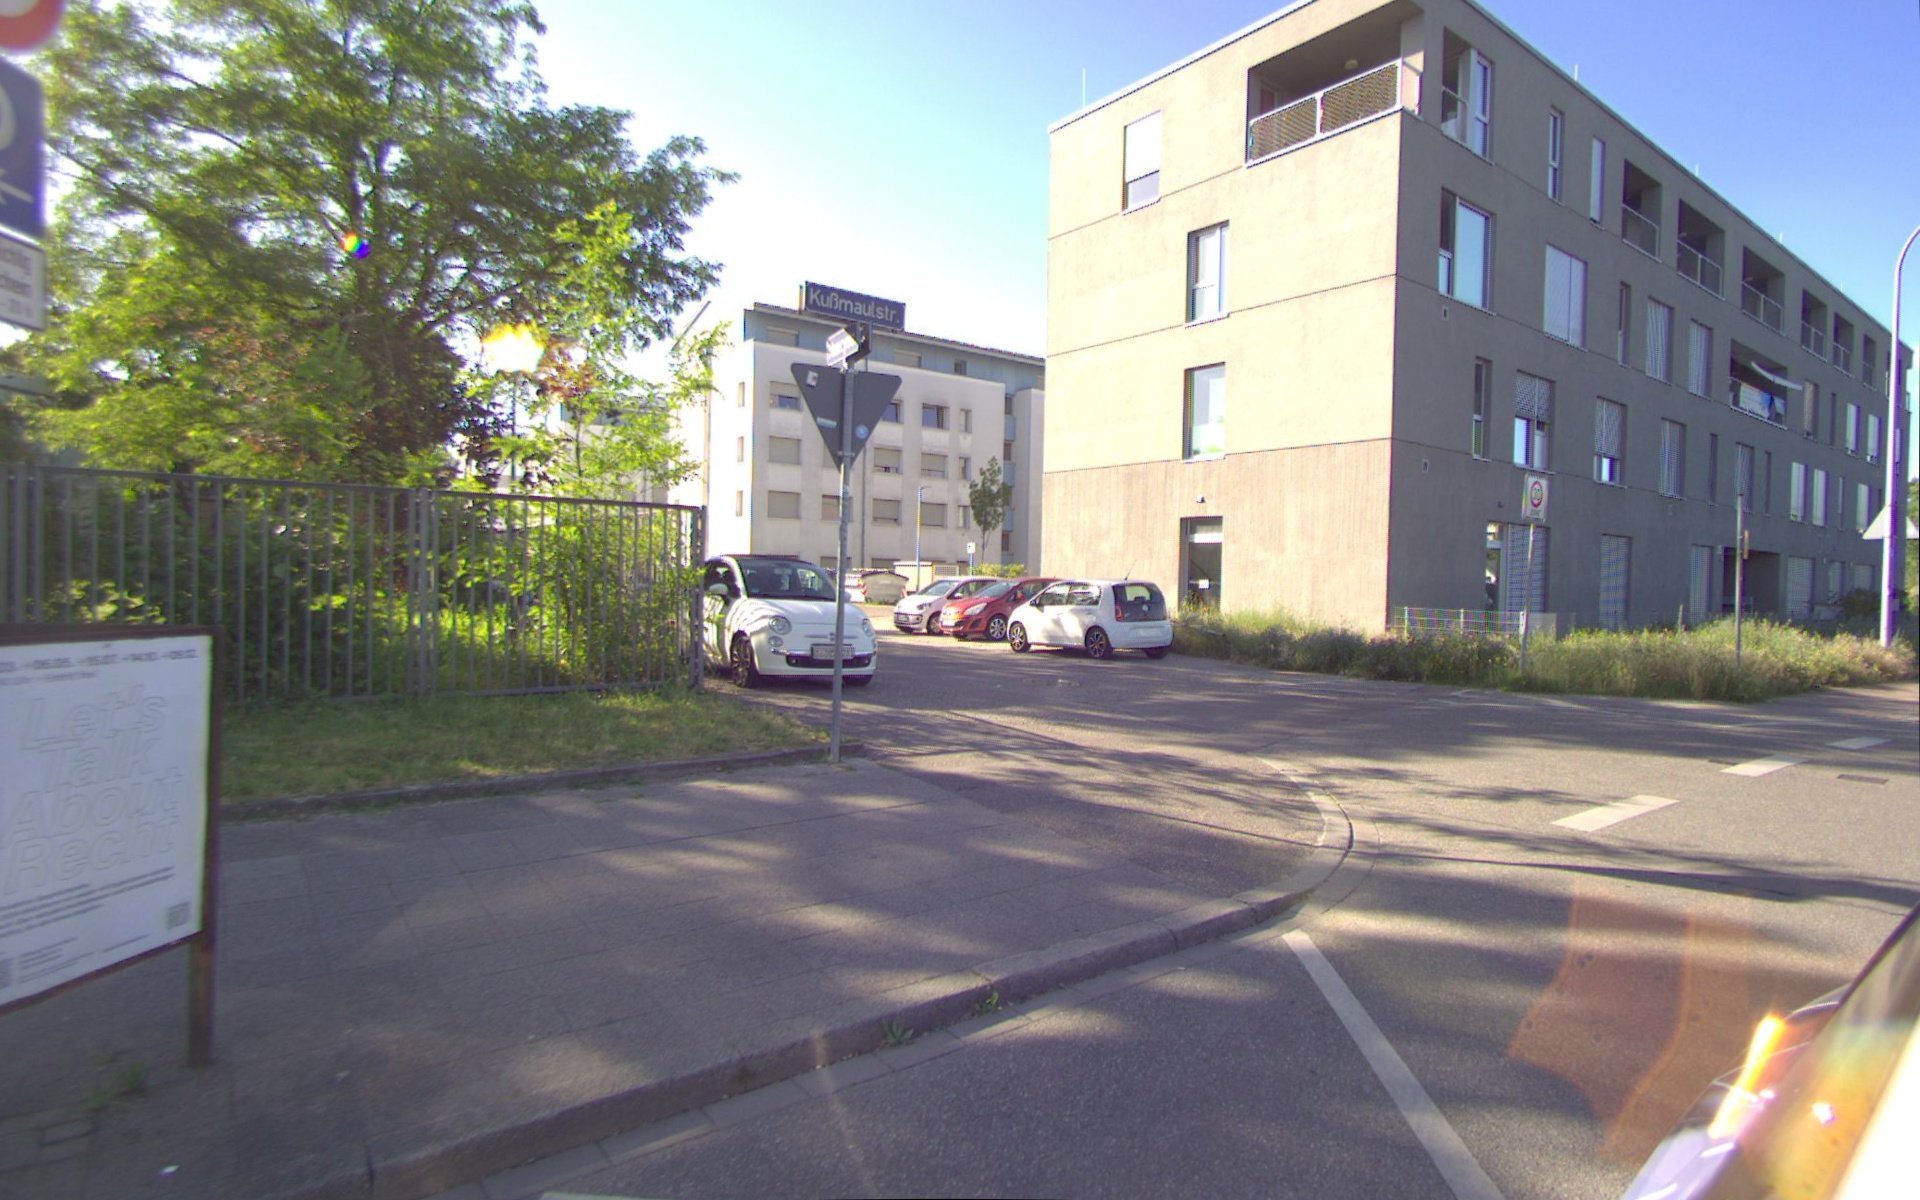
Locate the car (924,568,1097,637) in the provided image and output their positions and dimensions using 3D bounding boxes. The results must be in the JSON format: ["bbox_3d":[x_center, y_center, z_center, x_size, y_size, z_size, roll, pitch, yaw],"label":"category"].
[{"bbox_3d":[1.242,0.048,24.199,3.926,1.488,1.698,0,2,-37],"label":"car"}]

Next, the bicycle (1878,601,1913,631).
[{"bbox_3d":[35.263,0.598,38.149,1.806,1.074,0.554,0,1,-34],"label":"bicycle"}]

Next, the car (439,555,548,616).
[{"bbox_3d":[-12.181,-0.405,26.308,1.680,1.455,3.998,0,2,-38],"label":"car"}]

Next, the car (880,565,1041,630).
[{"bbox_3d":[0.046,-0.064,26.324,3.926,1.539,1.698,0,2,-37],"label":"car"}]

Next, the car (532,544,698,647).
[{"bbox_3d":[-6.424,-0.149,18.575,1.722,1.657,4.166,1,2,-36],"label":"car"}]

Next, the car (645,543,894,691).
[{"bbox_3d":[-2.422,0.110,12.221,1.570,1.504,3.558,1,2,-36],"label":"car"}]

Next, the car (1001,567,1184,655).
[{"bbox_3d":[2.435,0.144,19.207,1.681,1.476,3.341,1,2,-32],"label":"car"}]
